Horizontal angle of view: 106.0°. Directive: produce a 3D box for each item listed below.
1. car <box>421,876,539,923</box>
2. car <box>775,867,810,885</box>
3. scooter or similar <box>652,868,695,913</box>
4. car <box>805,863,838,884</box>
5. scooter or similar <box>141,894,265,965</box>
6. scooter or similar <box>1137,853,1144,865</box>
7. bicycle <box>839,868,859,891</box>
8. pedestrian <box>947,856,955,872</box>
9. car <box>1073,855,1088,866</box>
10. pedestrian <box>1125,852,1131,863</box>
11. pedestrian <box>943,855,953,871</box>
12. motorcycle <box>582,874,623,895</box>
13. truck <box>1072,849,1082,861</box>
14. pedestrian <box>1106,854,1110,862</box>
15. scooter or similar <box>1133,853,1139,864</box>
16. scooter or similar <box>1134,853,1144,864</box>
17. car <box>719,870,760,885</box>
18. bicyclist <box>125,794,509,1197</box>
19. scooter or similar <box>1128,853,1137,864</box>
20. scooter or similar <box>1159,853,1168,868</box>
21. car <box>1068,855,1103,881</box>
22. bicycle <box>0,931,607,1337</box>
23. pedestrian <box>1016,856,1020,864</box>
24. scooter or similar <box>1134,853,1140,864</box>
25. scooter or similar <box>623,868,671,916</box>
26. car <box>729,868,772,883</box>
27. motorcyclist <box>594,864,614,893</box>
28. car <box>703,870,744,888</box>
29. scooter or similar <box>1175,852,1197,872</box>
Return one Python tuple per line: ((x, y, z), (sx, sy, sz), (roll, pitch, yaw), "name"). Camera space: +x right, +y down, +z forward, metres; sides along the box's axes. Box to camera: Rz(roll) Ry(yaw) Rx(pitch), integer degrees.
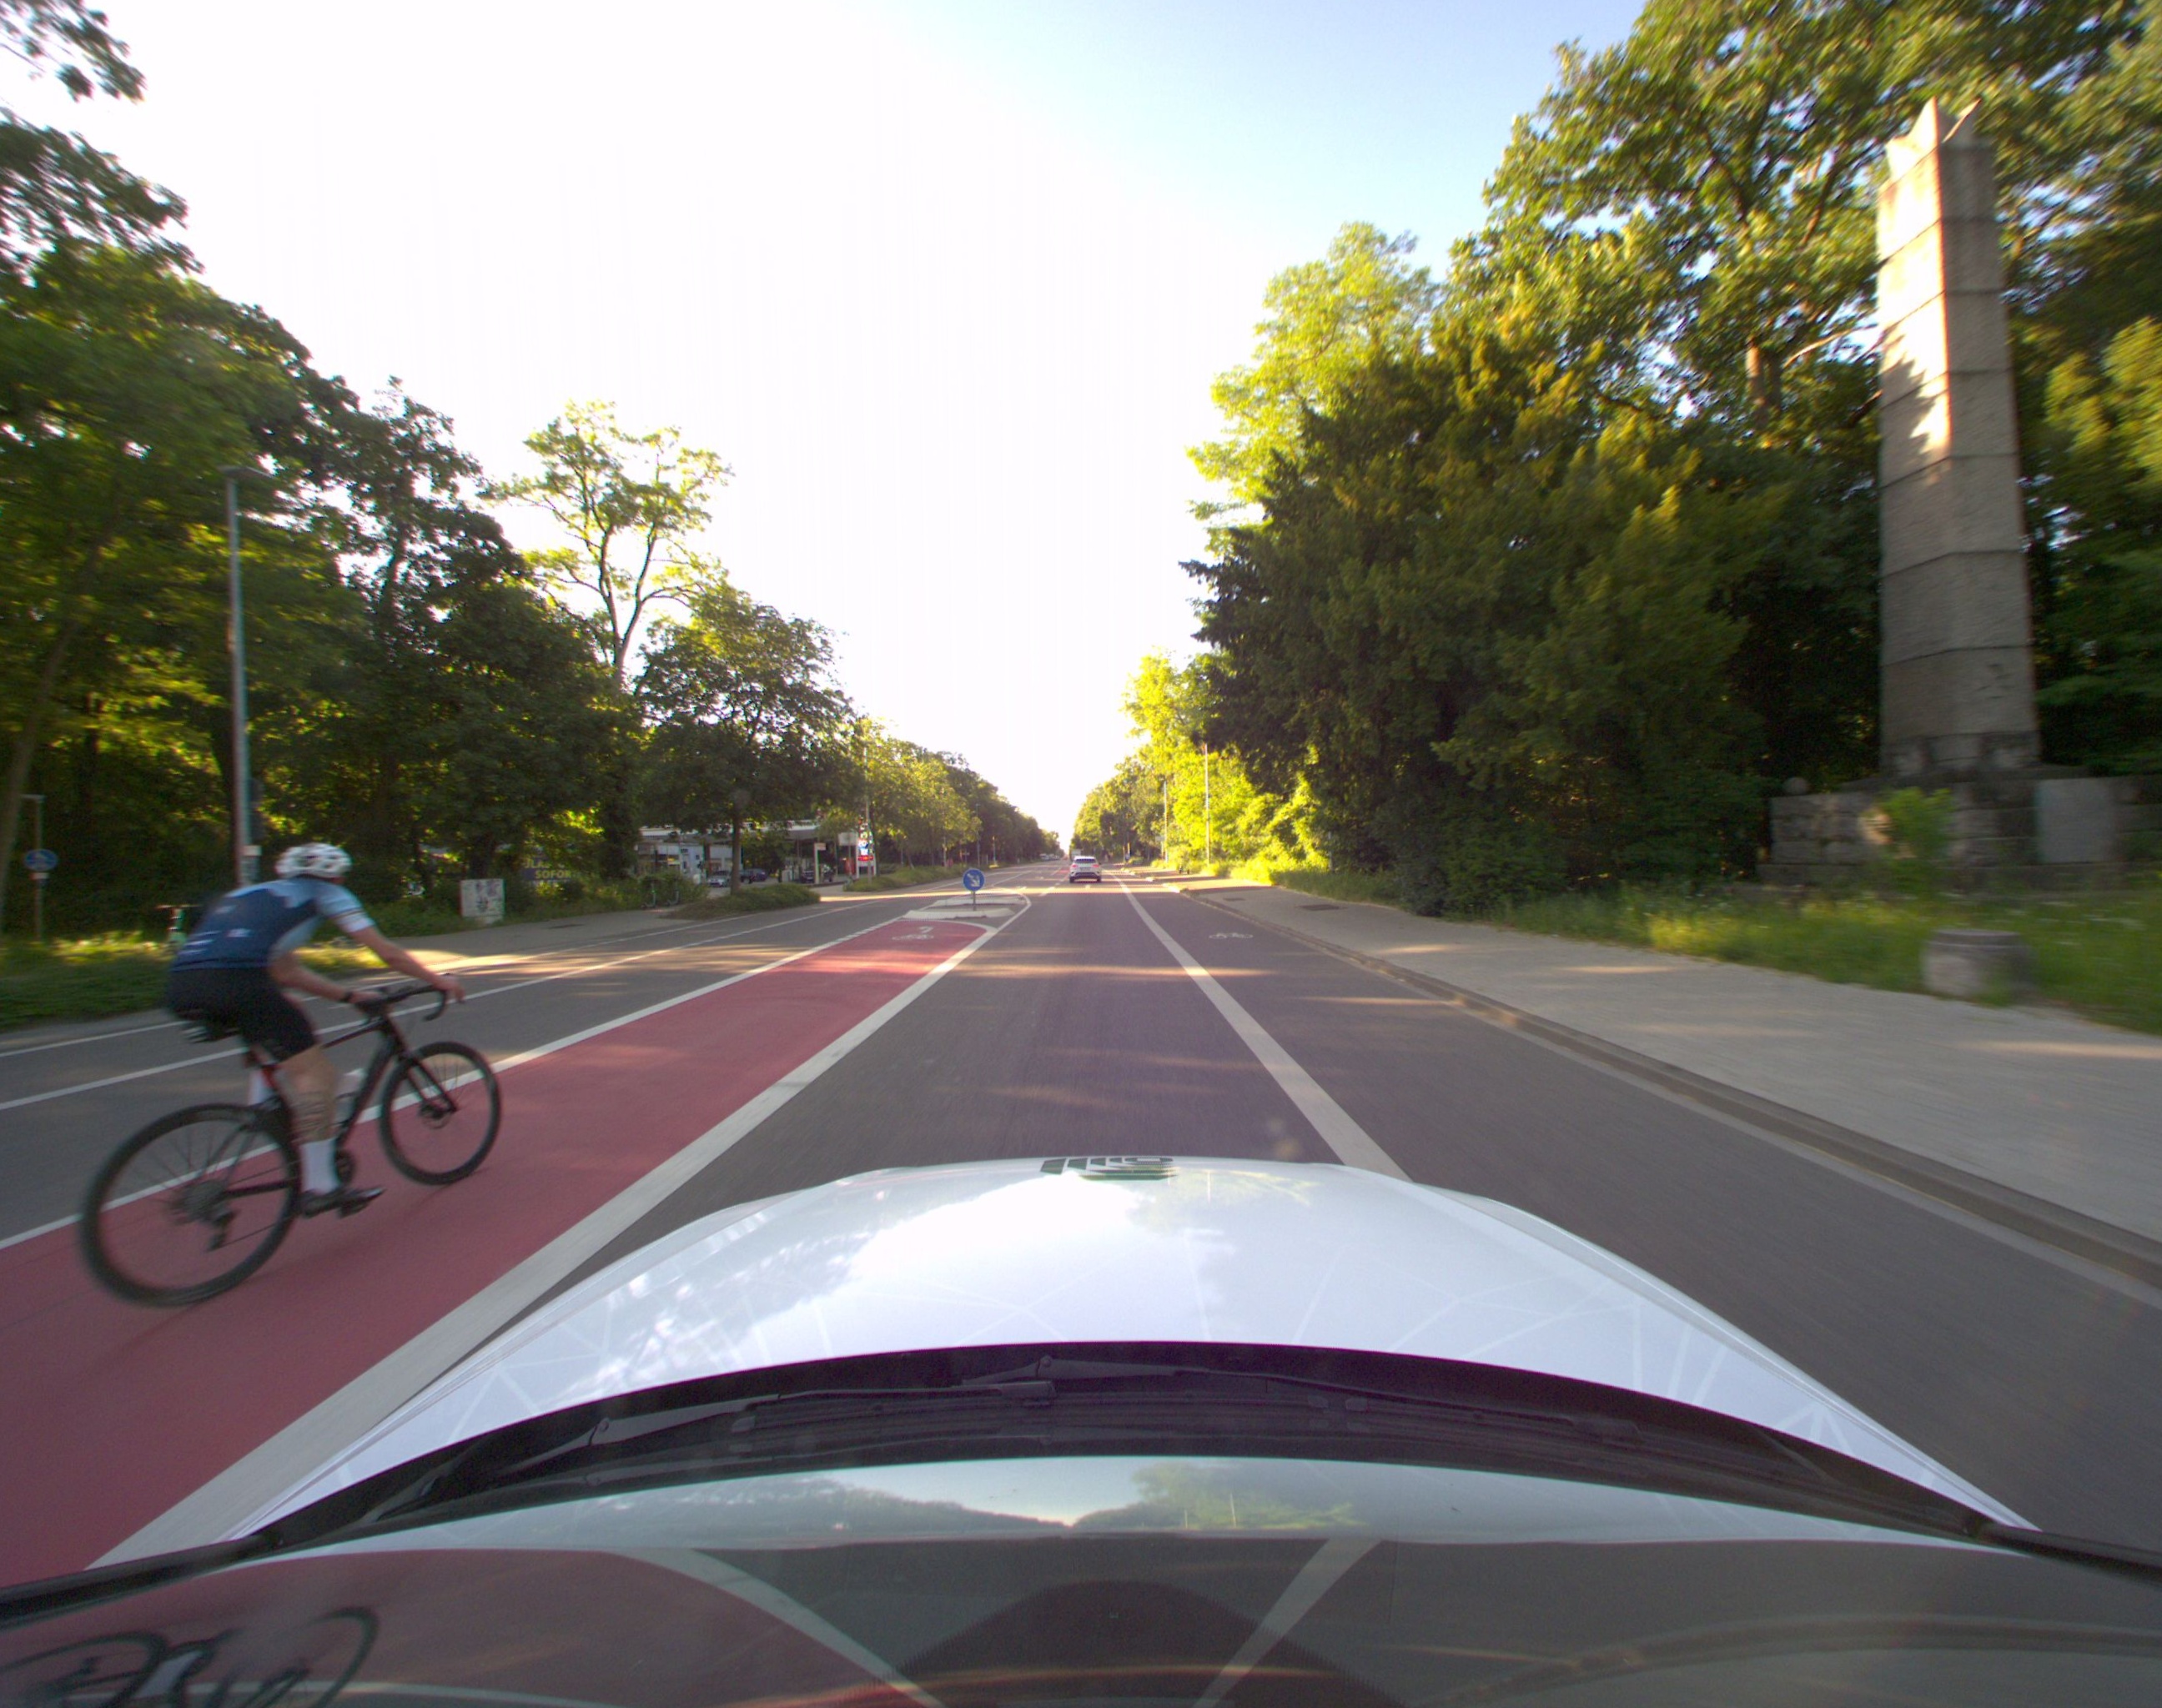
((-24.463, 1.822, 33.266), (1.542, 1.651, 3.513), (-3, 0, 31), "car")
((-26.823, 1.984, 75.844), (1.706, 1.498, 4.575), (-3, 0, -1), "car")
((-16.590, 1.449, 33.205), (0.825, 1.717, 1.741), (-2, 0, 0), "scooter or similar")
((-22.697, 1.681, 71.273), (1.707, 1.691, 4.446), (-3, 0, -4), "car")
((-18.279, 1.538, 17.017), (0.825, 1.310, 1.571), (-2, 0, 0), "scooter or similar")
((7.249, 0.589, 98.832), (0.680, 1.423, 1.681), (-2, 0, -1), "scooter or similar")
((-13.394, 1.455, 47.055), (0.653, 1.250, 2.155), (-2, 0, -5), "bicycle")
((-17.008, 1.347, 106.495), (0.710, 2.013, 0.752), (-3, 0, 30), "pedestrian")
((-0.089, 0.912, 117.132), (1.987, 1.519, 4.000), (-2, 0, 0), "car")
((6.441, 0.463, 110.979), (0.752, 1.563, 0.803), (-2, 0, 4), "pedestrian")
((-17.385, 1.206, 106.527), (0.710, 2.013, 0.880), (-3, 0, 30), "pedestrian")
((-37.379, 2.372, 63.636), (1.120, 1.451, 2.521), (-3, 0, 43), "motorcycle")
((-1.187, 0.338, 240.561), (2.792, 3.570, 8.028), (-1, 0, -2), "truck")
((5.595, 0.751, 167.226), (0.696, 1.653, 0.876), (-2, 0, -1), "pedestrian")
((7.529, 0.631, 110.901), (0.680, 1.423, 1.681), (-2, 0, 0), "scooter or similar")
((7.296, 0.588, 102.784), (0.683, 1.423, 1.673), (-2, 0, -14), "scooter or similar")
((-34.782, 2.397, 83.035), (3.628, 1.353, 1.707), (-3, 0, -15), "car")
((-3.316, 0.554, 3.636), (0.856, 1.567, 0.882), (-1, 0, 5), "bicyclist")
((6.755, 0.618, 106.527), (0.683, 1.423, 1.672), (-2, 0, -16), "scooter or similar")
((7.408, 0.586, 73.071), (0.531, 1.250, 1.541), (-2, 0, 0), "scooter or similar")
((0.214, 0.804, 47.604), (1.758, 1.459, 3.812), (0, 0, -4), "car")
((-3.312, 1.007, 3.717), (0.887, 1.095, 2.139), (-1, 0, 5), "bicycle")
((-16.151, 1.422, 210.055), (0.861, 2.013, 1.268), (-2, 0, -1), "pedestrian")
((7.392, 0.587, 107.847), (0.680, 1.423, 1.681), (-2, 0, 0), "scooter or similar")
((-16.651, 1.437, 31.262), (0.825, 1.717, 1.741), (-2, 0, 0), "scooter or similar")
((-37.088, 2.412, 91.546), (3.981, 1.555, 1.895), (-3, 0, -6), "car")
((-37.317, 1.925, 63.731), (1.110, 2.182, 1.022), (-3, 0, 44), "motorcyclist")
((-30.893, 2.124, 70.470), (1.706, 1.376, 4.057), (-3, 0, -1), "car")
((7.125, 0.529, 55.217), (1.550, 1.250, 0.528), (-2, 0, -44), "scooter or similar")
